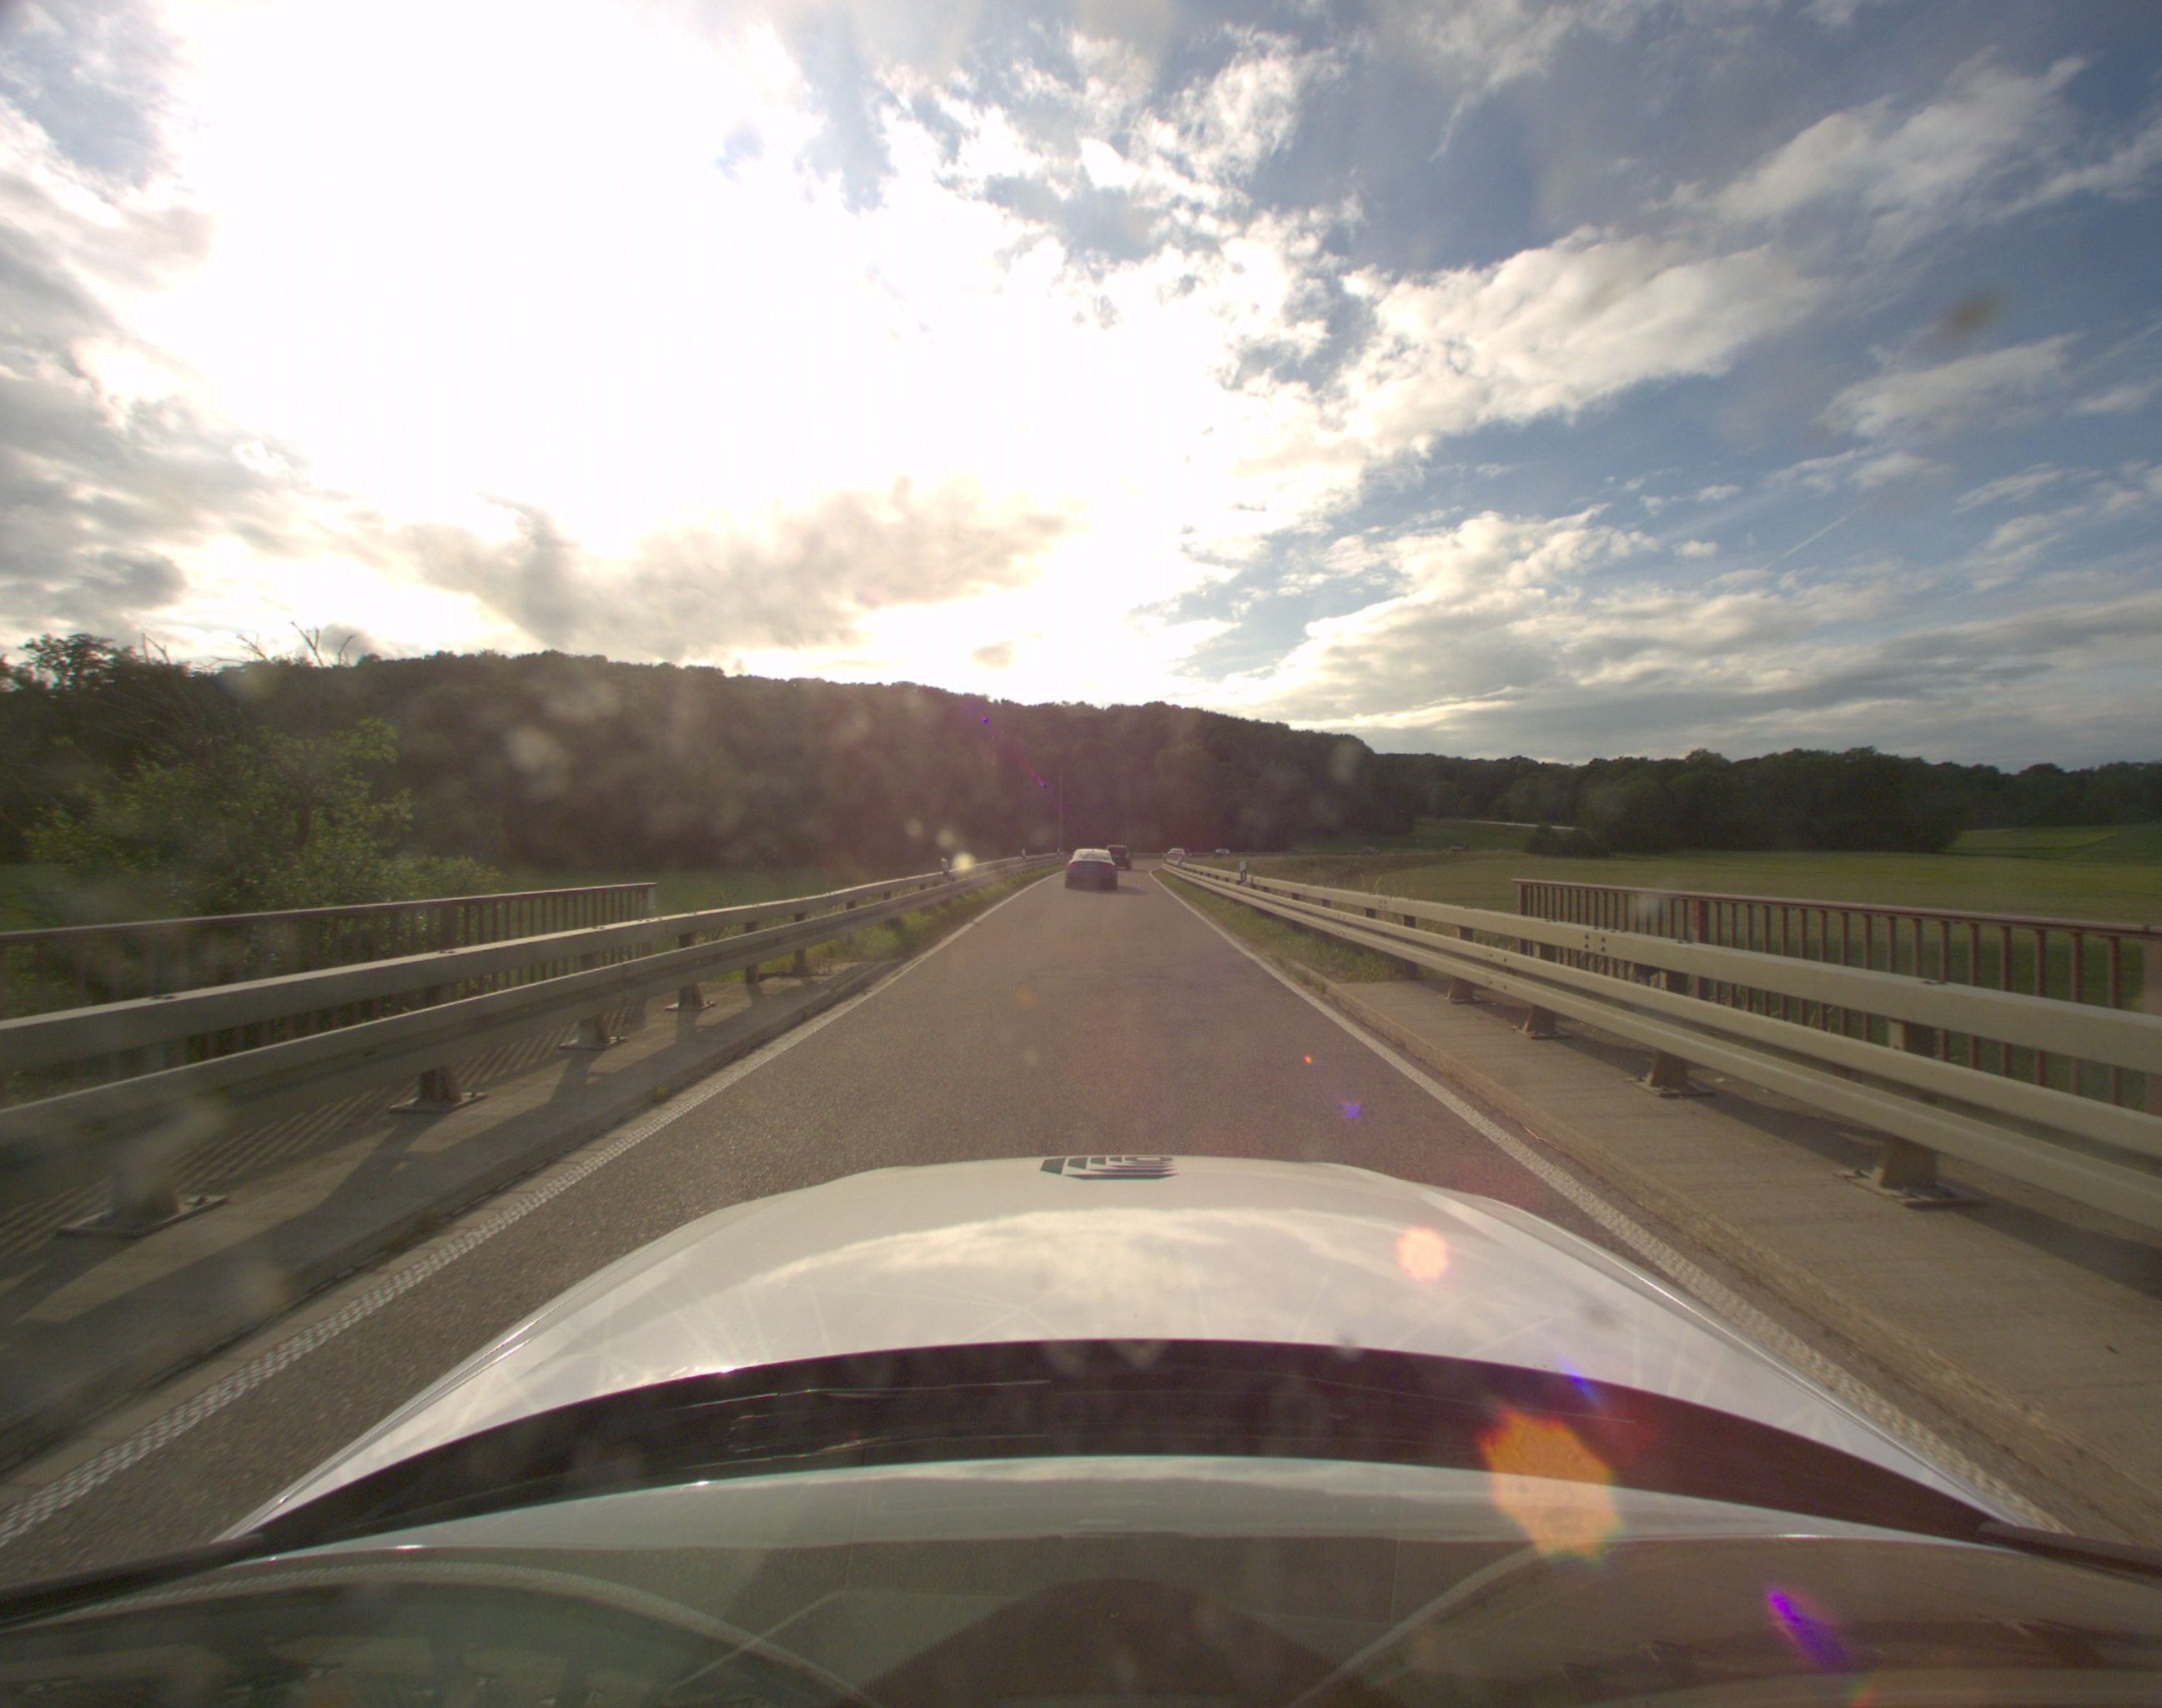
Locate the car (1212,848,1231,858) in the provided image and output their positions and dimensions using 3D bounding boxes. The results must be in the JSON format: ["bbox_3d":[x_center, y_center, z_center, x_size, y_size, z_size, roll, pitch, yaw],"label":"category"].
[{"bbox_3d":[18.988,-0.121,110.198,1.457,1.227,3.320,0,1,31],"label":"car"}]

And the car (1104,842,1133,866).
[{"bbox_3d":[2.558,-0.036,55.034,1.854,1.568,4.004,1,1,4],"label":"car"}]

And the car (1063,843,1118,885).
[{"bbox_3d":[0.421,0.312,29.423,1.811,1.339,4.353,2,1,2],"label":"car"}]

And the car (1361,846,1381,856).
[{"bbox_3d":[54.907,-0.535,154.299,1.975,1.679,4.203,2,1,43],"label":"car"}]

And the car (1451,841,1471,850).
[{"bbox_3d":[81.830,-1.886,175.297,4.014,1.772,1.980,1,0,-33],"label":"car"}]

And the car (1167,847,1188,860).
[{"bbox_3d":[10.605,-0.027,89.195,1.670,1.376,4.016,0,0,15],"label":"car"}]
